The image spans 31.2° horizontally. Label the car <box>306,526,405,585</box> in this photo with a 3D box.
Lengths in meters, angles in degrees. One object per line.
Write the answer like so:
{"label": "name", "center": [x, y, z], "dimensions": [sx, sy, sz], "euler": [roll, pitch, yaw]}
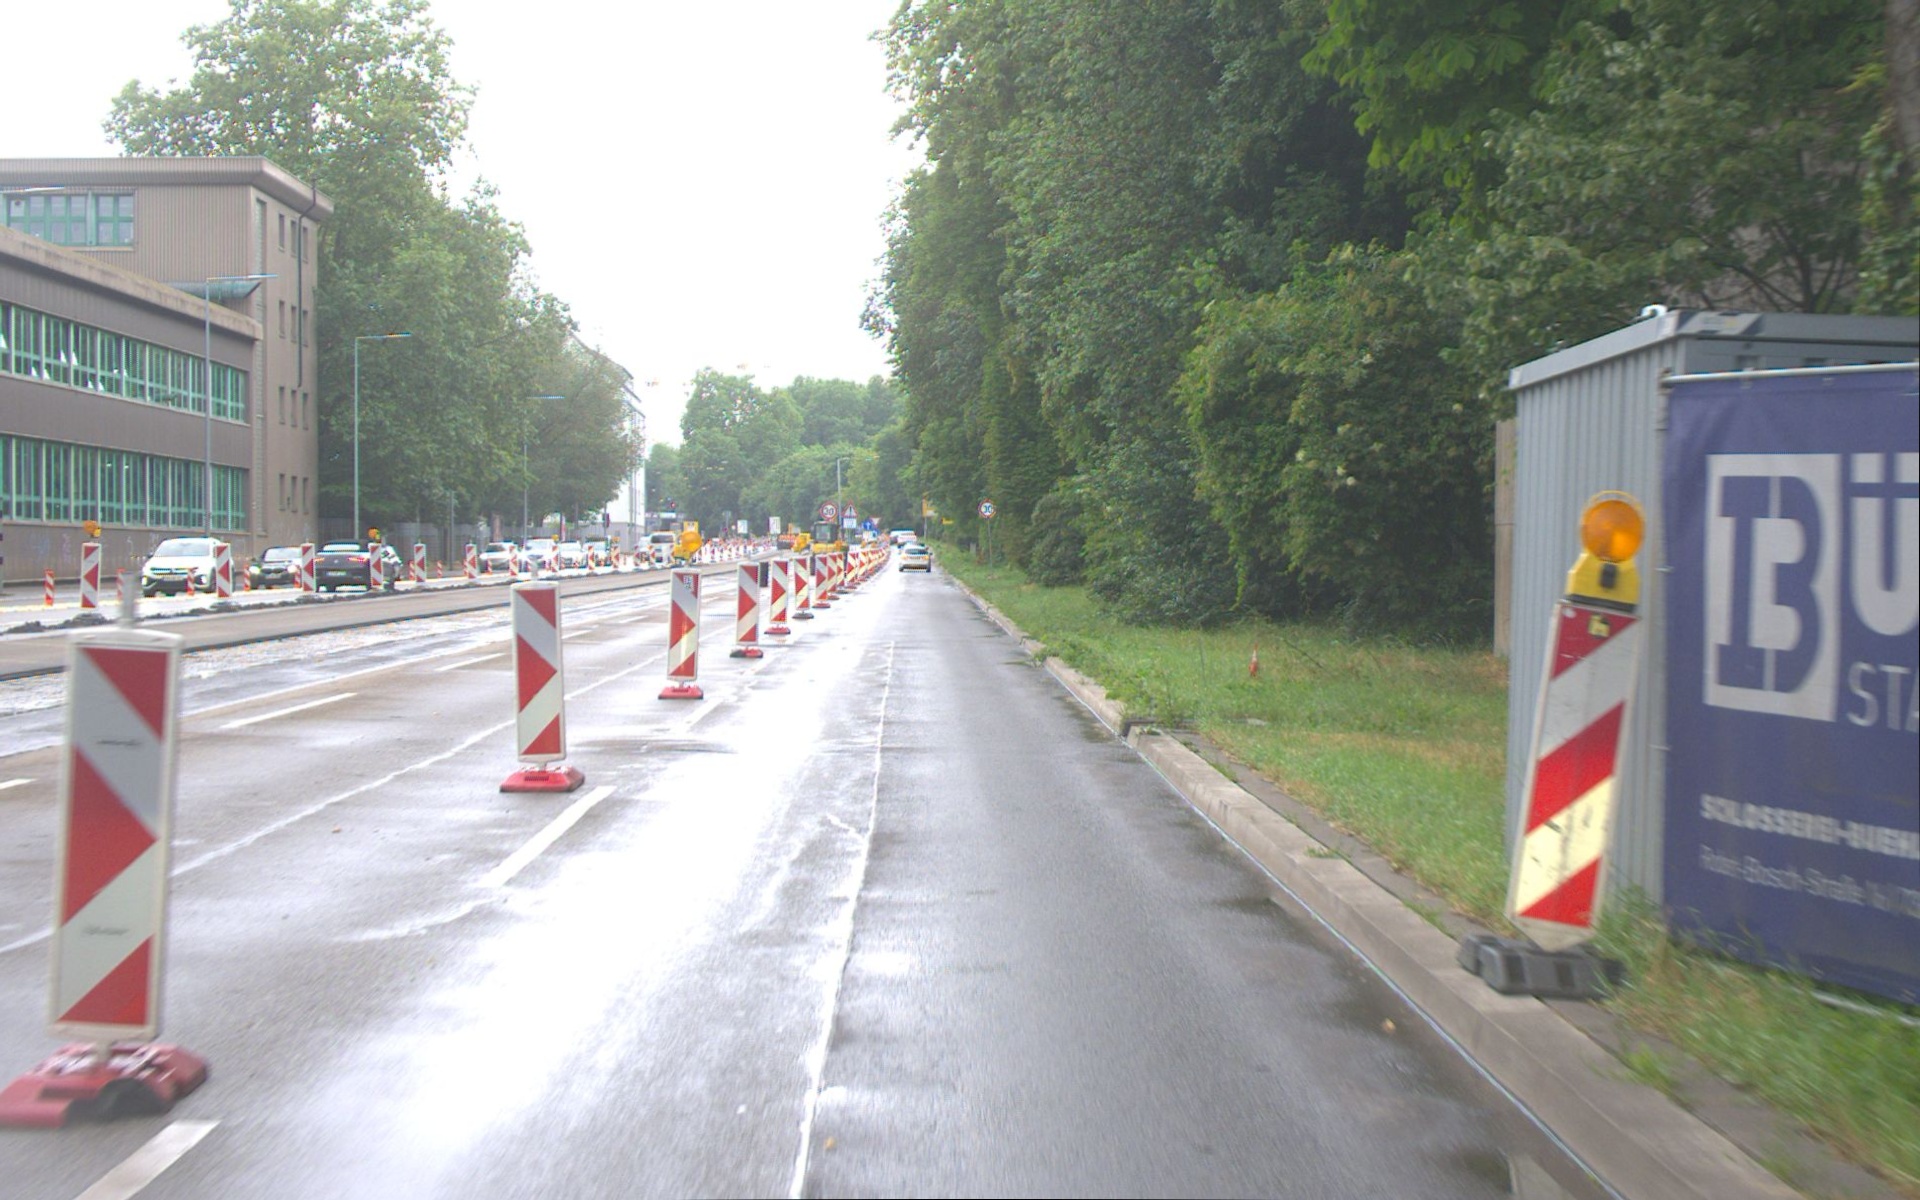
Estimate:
{"label": "car", "center": [-16.301, -1.194, 92.859], "dimensions": [1.993, 1.514, 4.000], "euler": [1, 1, -1]}

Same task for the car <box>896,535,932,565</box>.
{"label": "car", "center": [-2.601, -2.854, 196.450], "dimensions": [1.993, 1.667, 4.000], "euler": [1, 1, -1]}

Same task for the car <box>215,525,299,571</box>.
{"label": "car", "center": [-22.977, -1.714, 112.540], "dimensions": [1.993, 1.424, 4.265], "euler": [1, 1, -2]}

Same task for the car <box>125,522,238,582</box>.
{"label": "car", "center": [-20.162, -1.259, 89.214], "dimensions": [1.993, 1.508, 4.266], "euler": [1, 1, -1]}

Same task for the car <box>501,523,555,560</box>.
{"label": "car", "center": [-21.209, -2.856, 168.947], "dimensions": [1.989, 1.762, 4.674], "euler": [1, 1, 1]}

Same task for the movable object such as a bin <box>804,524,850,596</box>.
{"label": "movable object such as a bin", "center": [-6.425, -1.928, 166.060], "dimensions": [1.993, 3.356, 5.982], "euler": [1, 1, -1]}
